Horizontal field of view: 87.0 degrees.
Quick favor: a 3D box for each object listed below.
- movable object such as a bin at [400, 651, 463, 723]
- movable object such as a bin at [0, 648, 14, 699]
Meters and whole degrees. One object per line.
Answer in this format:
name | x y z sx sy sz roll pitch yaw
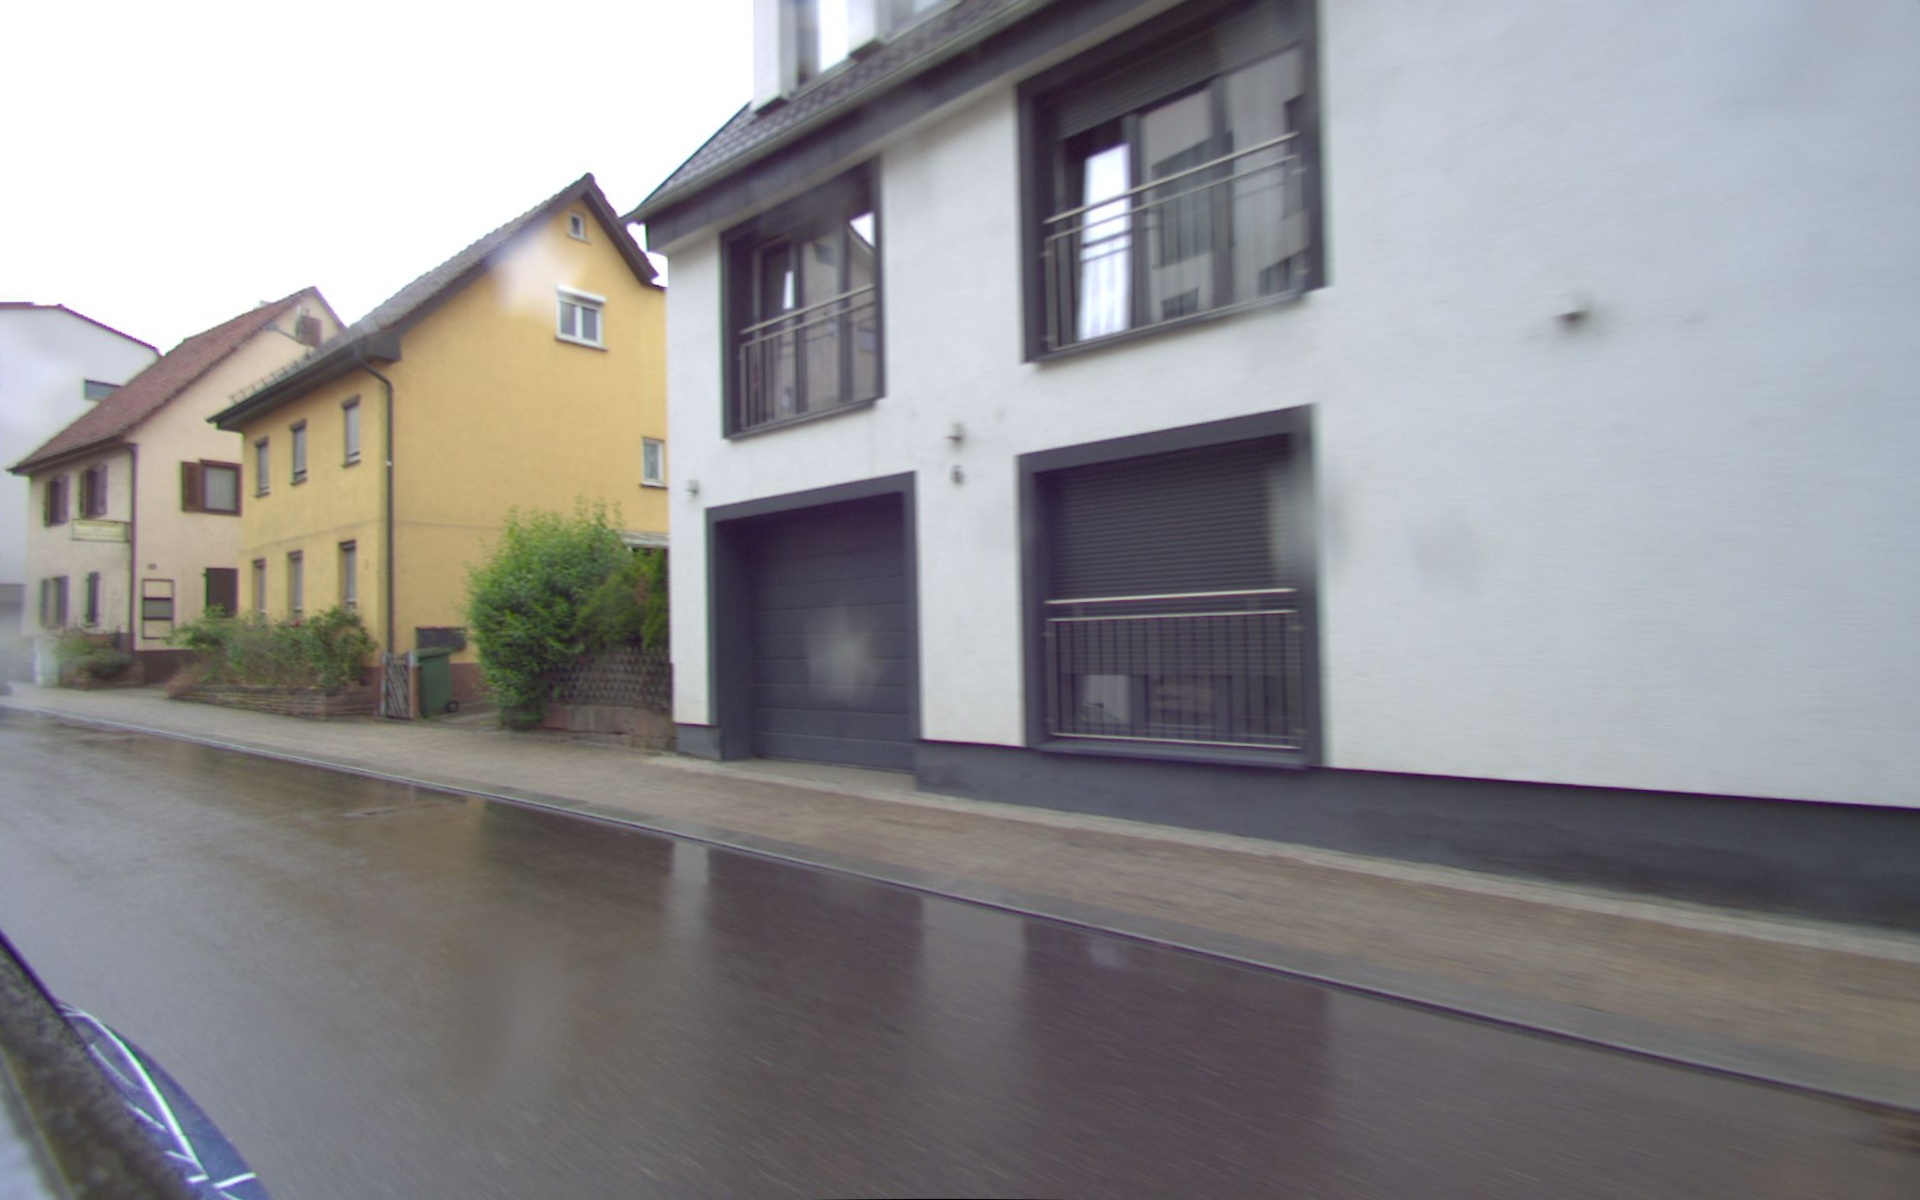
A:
movable object such as a bin | -8.487 1.387 16.260 0.721 1.117 0.650 -1 -4 43
movable object such as a bin | -21.130 1.608 22.027 0.575 1.067 0.706 -1 0 36
